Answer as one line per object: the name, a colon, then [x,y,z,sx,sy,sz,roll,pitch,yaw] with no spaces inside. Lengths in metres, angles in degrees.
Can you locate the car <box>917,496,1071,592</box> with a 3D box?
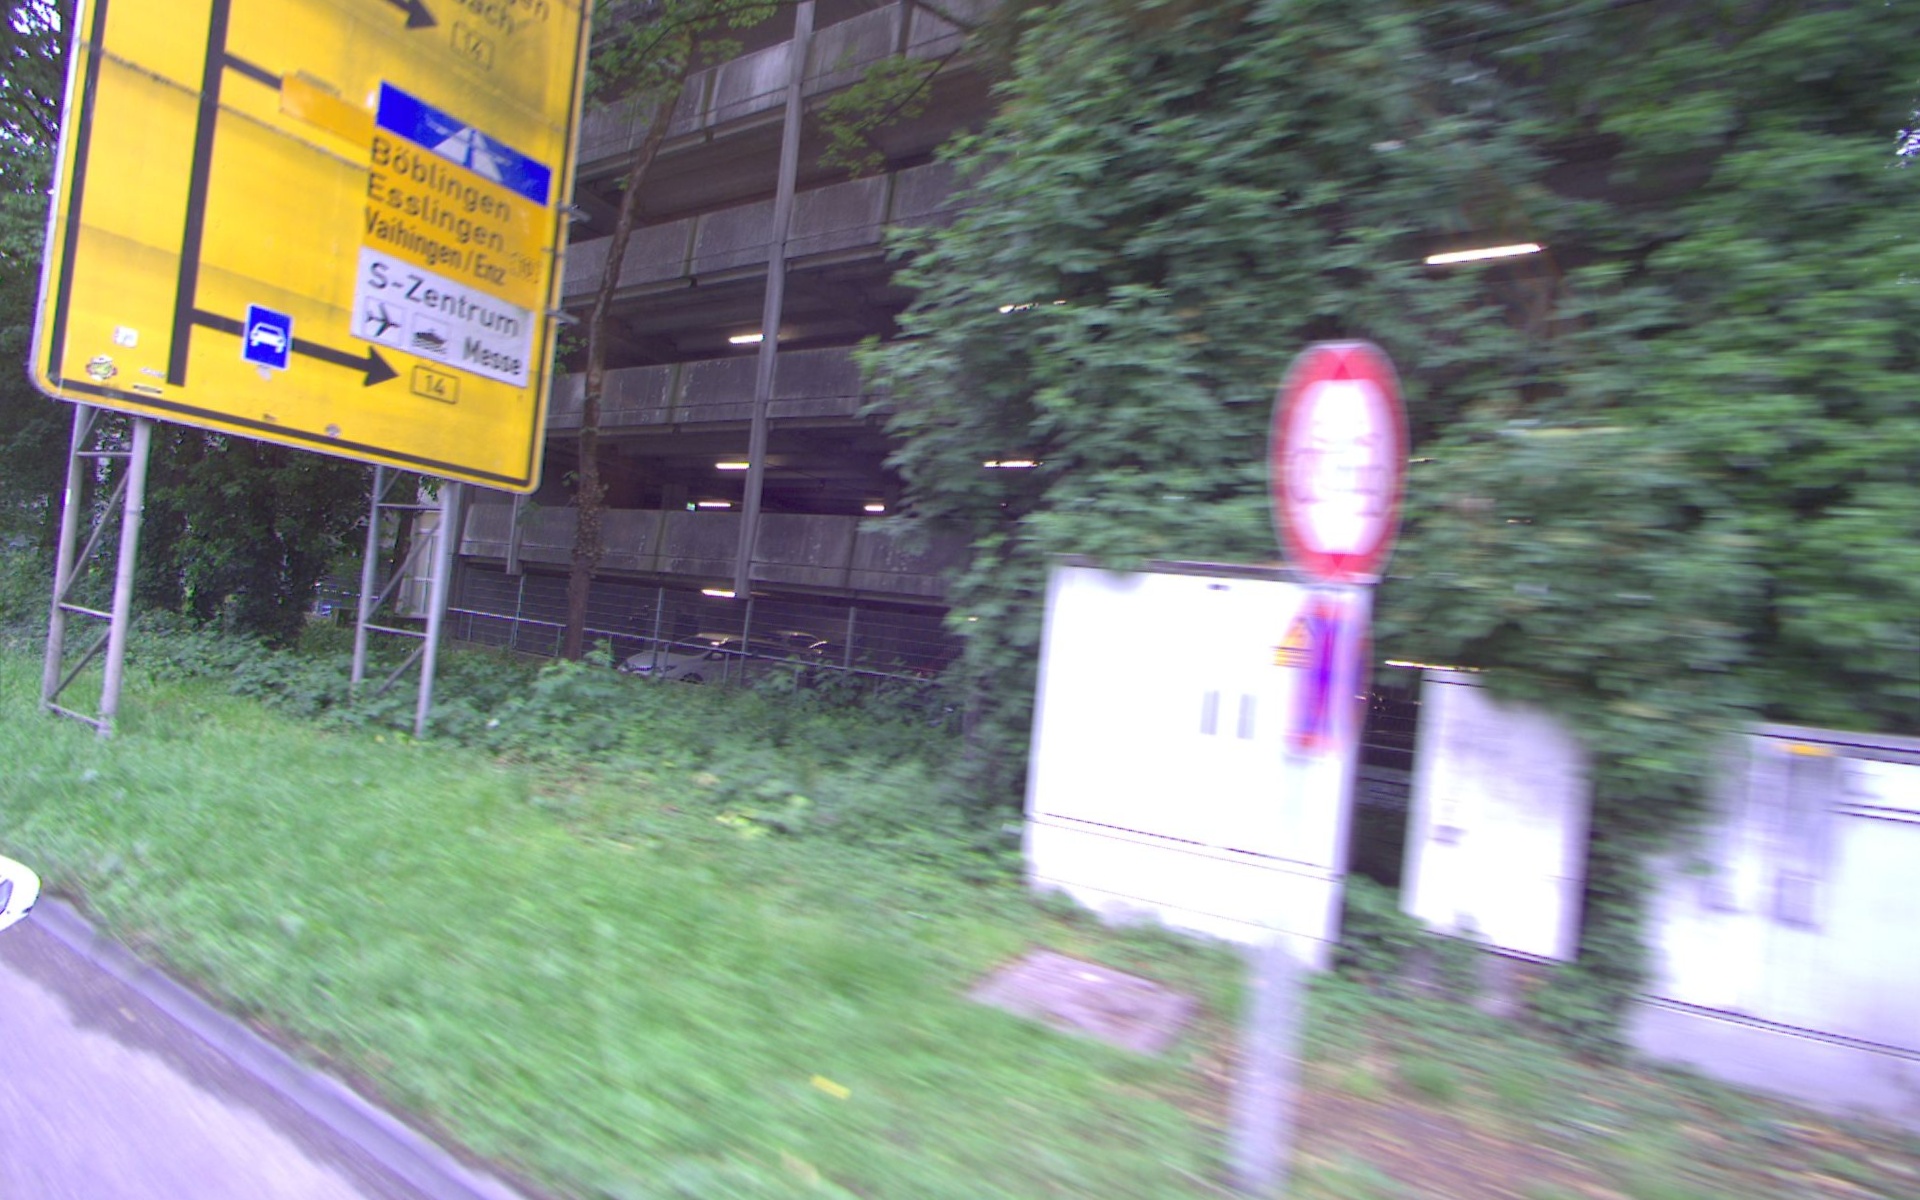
car: [0.667,-0.963,18.008,1.335,1.261,2.891,4,-4,34]

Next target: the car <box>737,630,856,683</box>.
car: [-5.748,2.042,35.728,1.796,1.468,4.066,6,-2,33]

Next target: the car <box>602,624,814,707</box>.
car: [-5.412,1.499,22.174,1.684,1.472,4.447,4,-3,34]

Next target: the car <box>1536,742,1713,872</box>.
car: [8.107,2.422,12.318,1.514,1.099,3.249,6,-3,34]

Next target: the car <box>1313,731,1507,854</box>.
car: [6.133,2.477,13.503,1.597,1.175,3.633,6,-3,36]

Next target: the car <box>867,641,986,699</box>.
car: [-1.022,2.309,32.883,1.796,1.505,4.066,6,-2,33]

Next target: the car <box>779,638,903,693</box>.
car: [-3.892,2.209,33.564,1.796,1.432,4.066,6,-2,33]

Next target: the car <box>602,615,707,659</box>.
car: [-11.933,1.490,39.457,1.646,1.366,3.667,6,-2,33]
